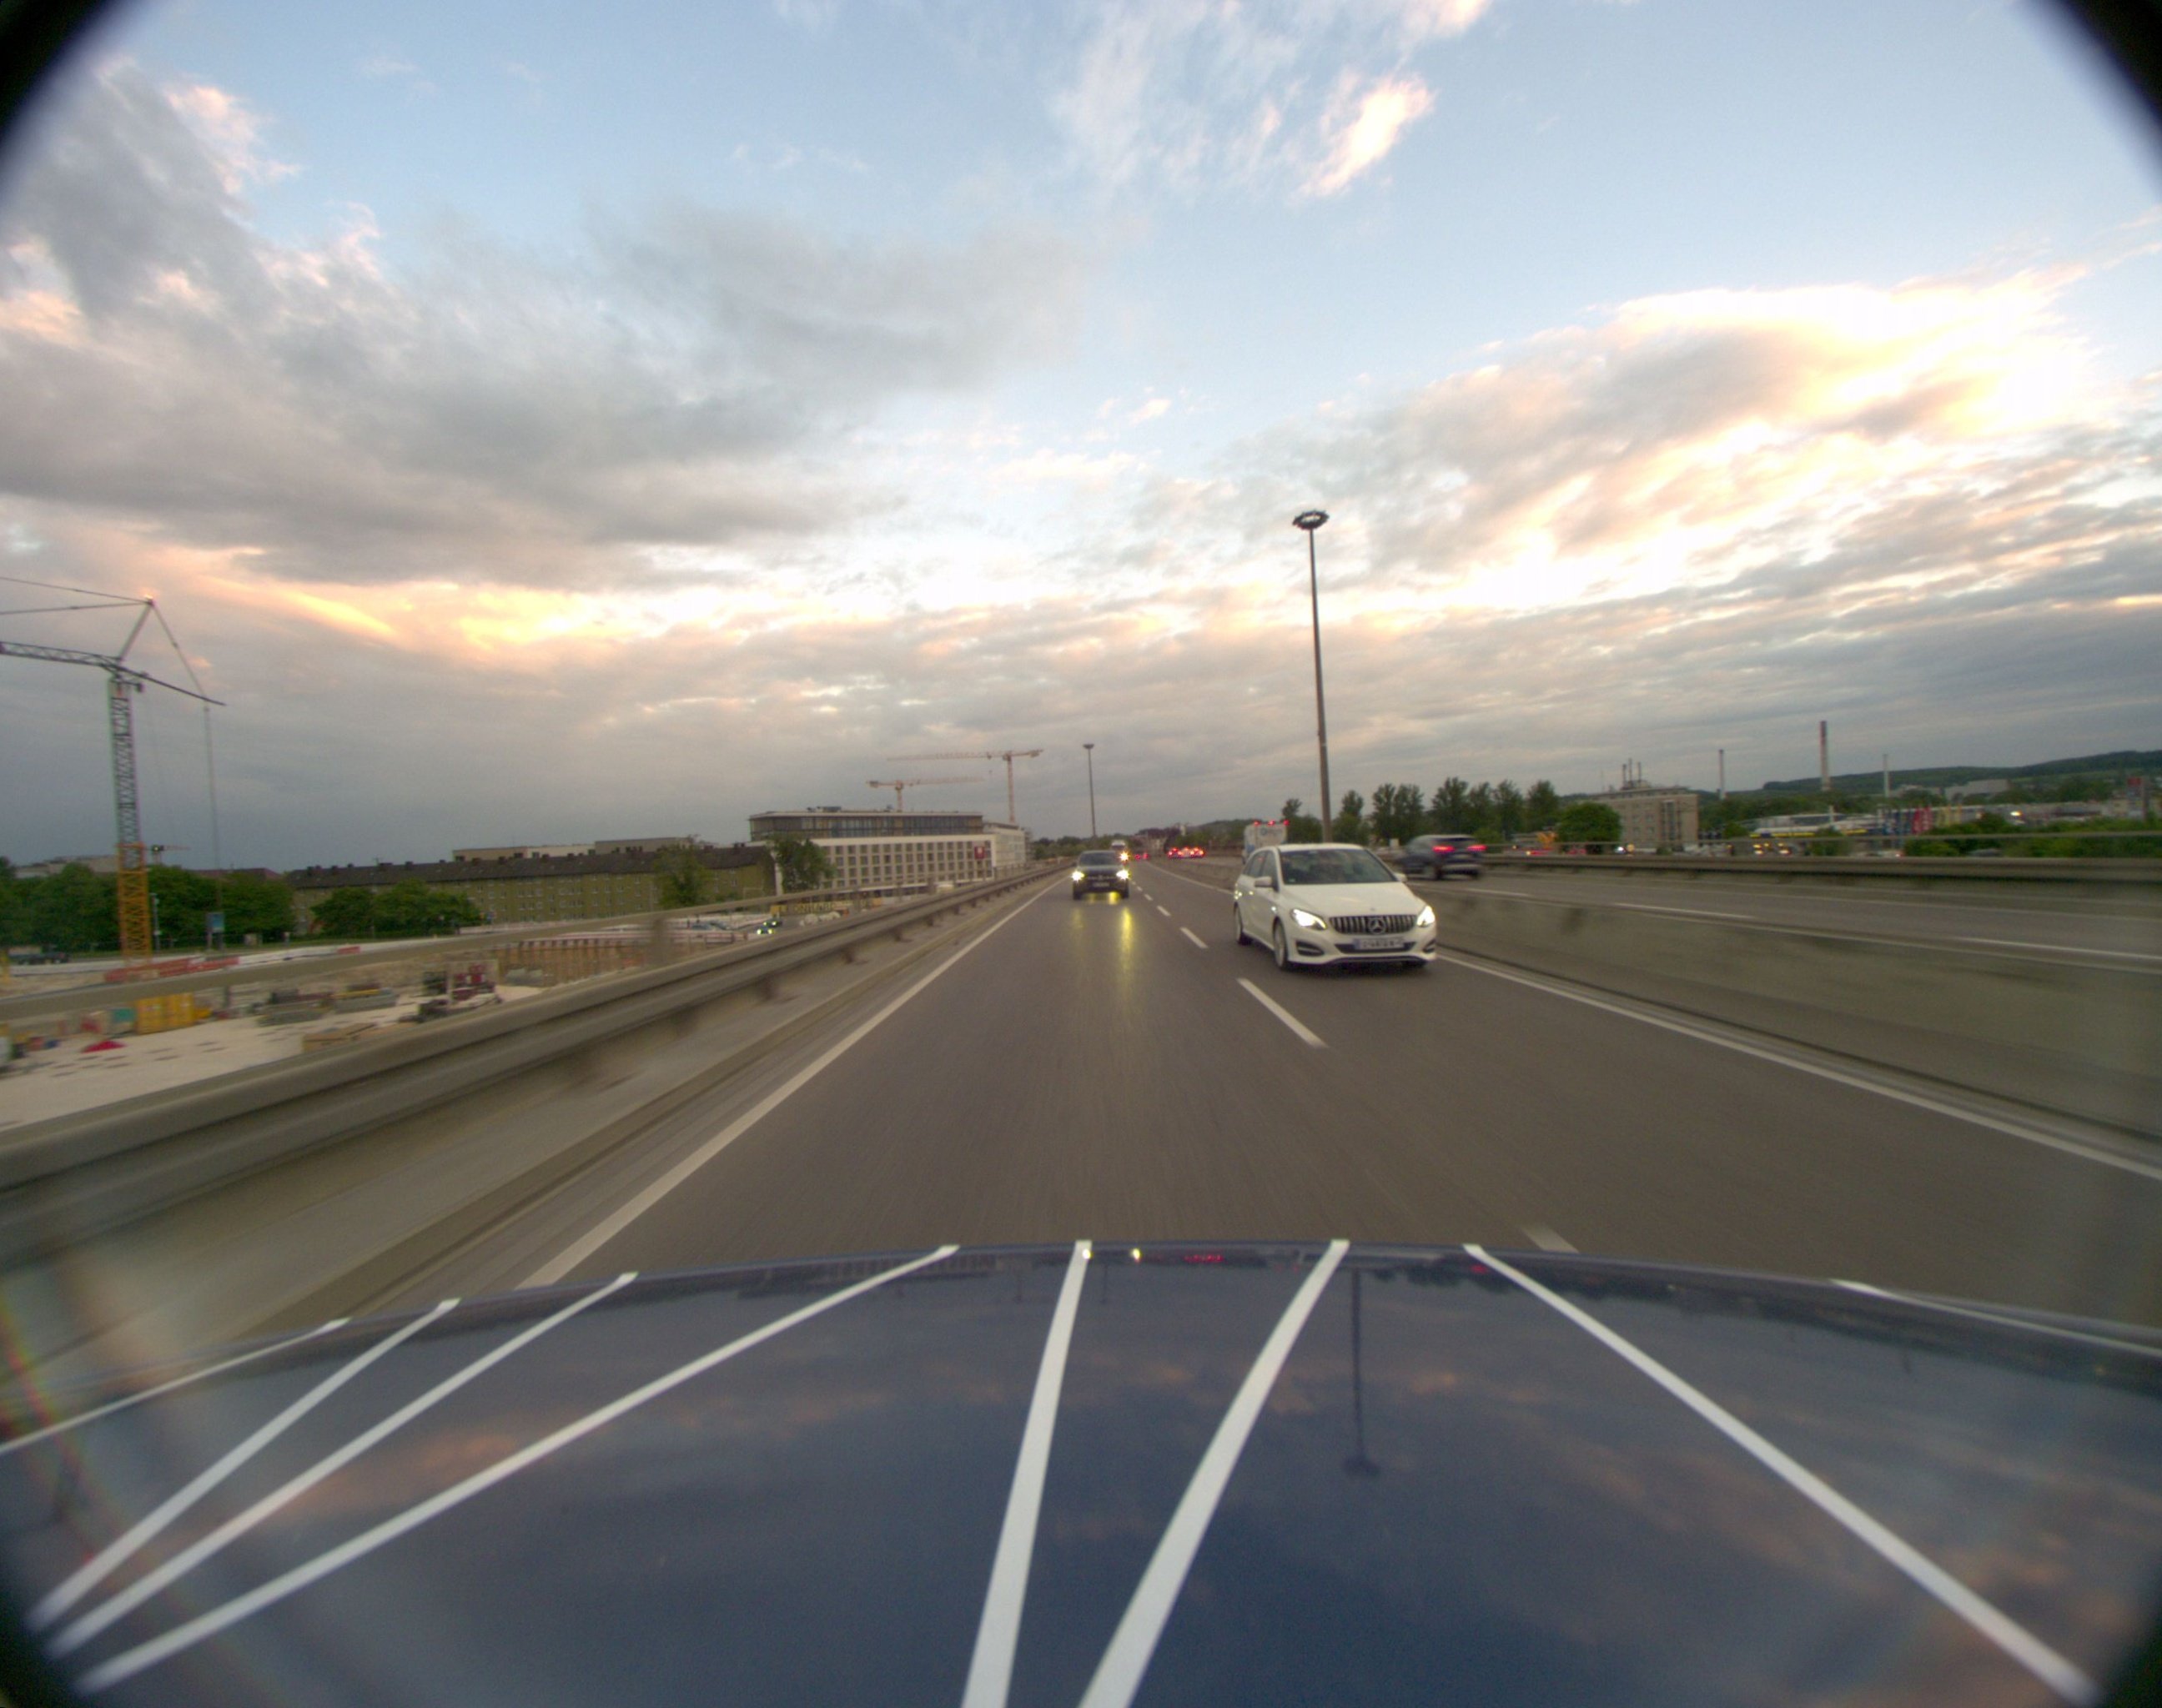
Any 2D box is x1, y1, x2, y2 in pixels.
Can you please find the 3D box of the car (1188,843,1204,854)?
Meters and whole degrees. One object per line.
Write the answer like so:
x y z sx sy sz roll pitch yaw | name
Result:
17.097 -0.844 113.205 1.835 1.494 4.817 -1 1 3 | car

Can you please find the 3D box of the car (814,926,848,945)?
-29.396 9.550 89.315 2.003 1.866 5.083 -4 -4 -39 | car

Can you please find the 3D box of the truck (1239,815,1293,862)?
14.041 -1.150 58.360 2.540 3.278 7.446 -2 1 3 | truck

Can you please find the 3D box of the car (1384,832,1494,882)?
12.791 0.063 27.458 1.981 1.596 4.441 -2 1 2 | car

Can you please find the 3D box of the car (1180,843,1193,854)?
20.339 -1.045 146.542 1.905 1.889 5.459 -2 1 2 | car

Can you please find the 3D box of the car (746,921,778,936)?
-43.915 10.258 104.614 3.787 1.729 1.647 -4 1 17 | car

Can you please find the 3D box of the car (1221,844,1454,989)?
3.235 0.700 10.665 1.695 1.528 4.784 -2 0 1 | car

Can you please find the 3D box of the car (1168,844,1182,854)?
13.566 -0.740 110.106 1.633 1.432 3.836 -2 0 2 | car

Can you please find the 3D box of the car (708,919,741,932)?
-53.119 10.630 113.173 4.095 1.710 1.804 -2 3 13 | car

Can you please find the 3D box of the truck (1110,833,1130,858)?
7.271 -1.600 139.579 3.164 4.369 8.795 -2 1 5 | truck

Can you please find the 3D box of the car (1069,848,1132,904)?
0.697 0.647 24.691 1.823 1.602 4.213 -1 0 3 | car

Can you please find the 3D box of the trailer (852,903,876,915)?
-38.070 9.636 133.363 1.998 1.339 5.875 -8 -1 4 | trailer

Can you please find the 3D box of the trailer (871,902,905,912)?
-35.258 9.599 138.565 5.876 1.340 2.024 -2 1 -15 | trailer

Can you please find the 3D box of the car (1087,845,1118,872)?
1.394 0.321 50.369 1.891 1.641 4.345 -2 -1 1 | car

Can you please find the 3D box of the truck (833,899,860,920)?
-38.775 9.116 125.823 2.163 2.930 7.336 -5 0 -2 | truck

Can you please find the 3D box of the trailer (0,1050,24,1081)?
-55.713 10.857 37.288 1.780 1.234 4.259 -4 0 29 | trailer
